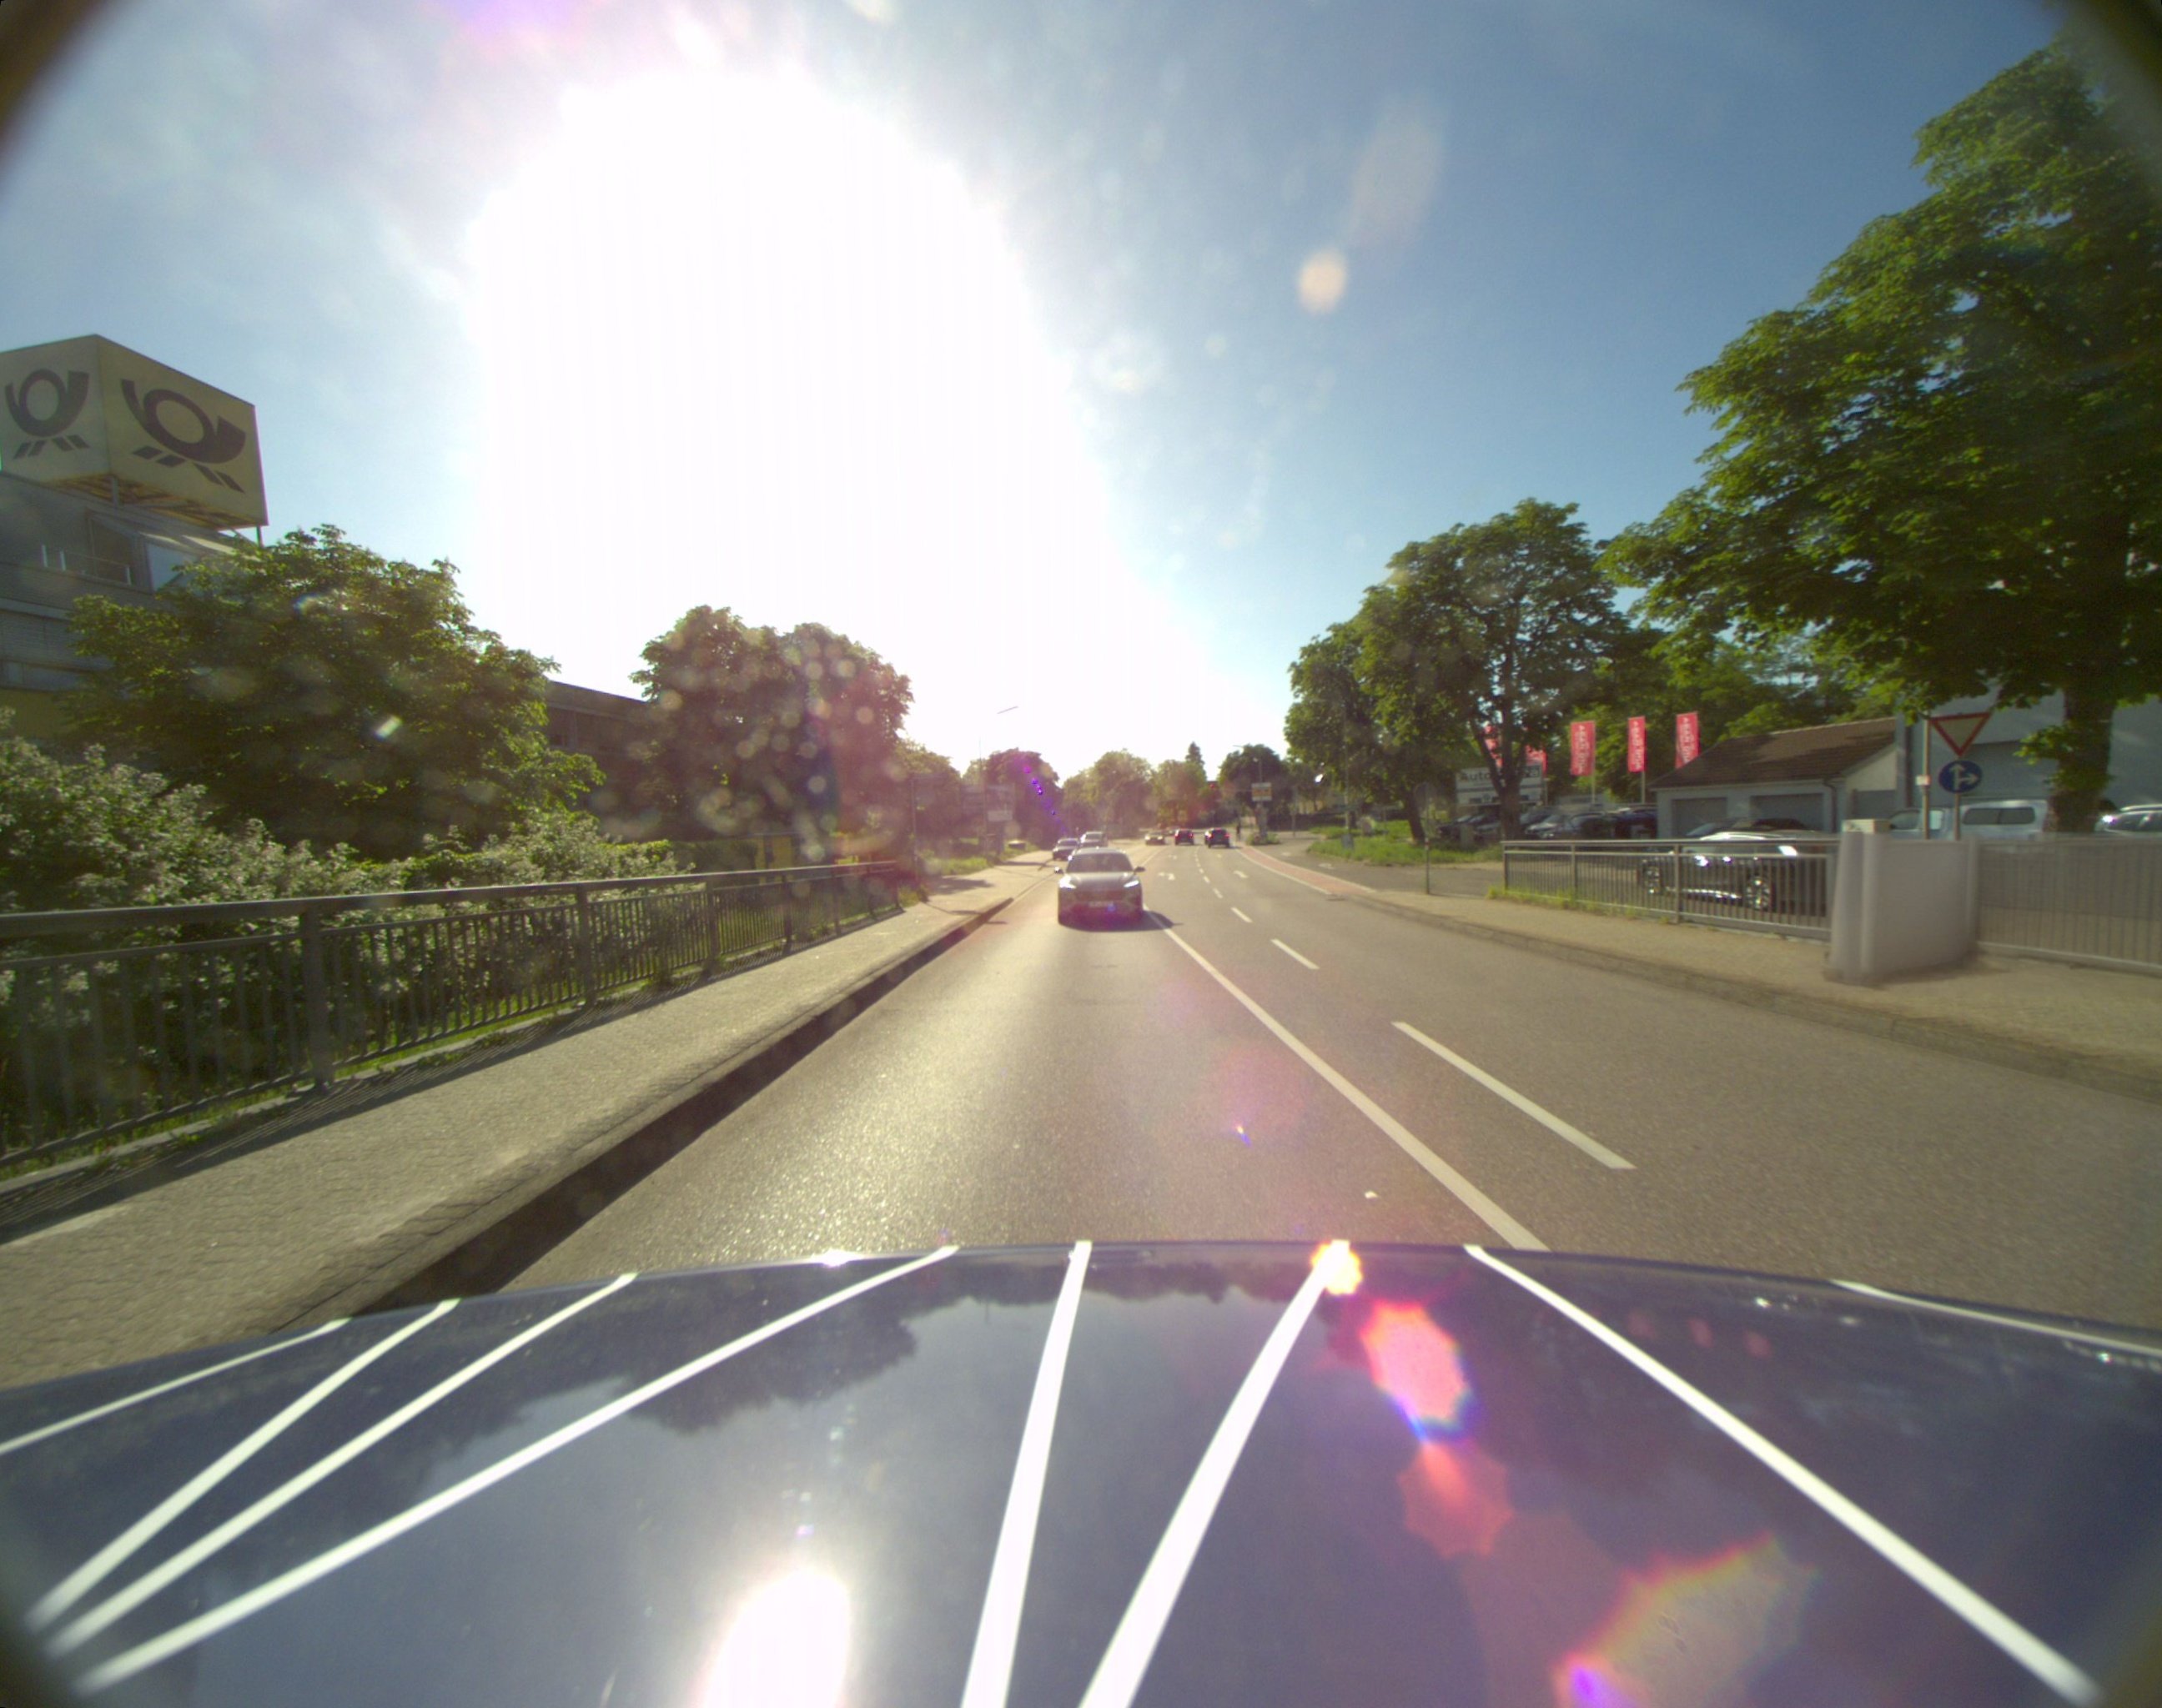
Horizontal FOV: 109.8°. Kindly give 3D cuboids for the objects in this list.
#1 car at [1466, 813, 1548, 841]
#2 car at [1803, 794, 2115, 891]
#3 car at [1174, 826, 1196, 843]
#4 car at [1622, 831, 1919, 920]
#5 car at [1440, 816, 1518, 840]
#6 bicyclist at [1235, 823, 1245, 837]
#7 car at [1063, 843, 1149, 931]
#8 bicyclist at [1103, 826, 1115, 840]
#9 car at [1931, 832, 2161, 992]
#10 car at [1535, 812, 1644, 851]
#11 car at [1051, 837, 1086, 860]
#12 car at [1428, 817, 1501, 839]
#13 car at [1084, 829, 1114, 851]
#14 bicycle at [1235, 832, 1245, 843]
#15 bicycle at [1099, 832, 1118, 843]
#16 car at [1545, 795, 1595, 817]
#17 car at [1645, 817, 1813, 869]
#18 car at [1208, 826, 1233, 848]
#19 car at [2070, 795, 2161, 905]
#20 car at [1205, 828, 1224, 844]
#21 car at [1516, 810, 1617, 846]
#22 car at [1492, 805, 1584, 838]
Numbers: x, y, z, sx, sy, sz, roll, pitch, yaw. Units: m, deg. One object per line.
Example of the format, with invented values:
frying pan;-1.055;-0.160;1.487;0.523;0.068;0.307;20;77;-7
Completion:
car;25.201;-1.578;44.975;3.880;1.405;1.944;-3;2;-11
car;20.548;-0.349;18.243;1.751;1.920;5.101;-3;2;3
car;10.218;-1.951;74.887;1.917;1.590;3.999;-1;2;4
car;14.313;0.320;16.308;2.042;1.456;4.960;-3;2;3
car;24.925;-1.621;47.651;3.934;1.233;2.041;-4;2;-13
bicyclist;16.269;-2.450;77.715;0.935;1.394;0.823;-3;2;11
car;0.508;0.631;17.205;1.715;1.636;4.053;0;2;0
bicyclist;3.288;-2.483;89.944;0.890;1.683;1.192;-2;3;31
car;13.628;0.703;8.696;2.042;1.719;5.235;-4;2;2
car;24.081;-1.063;36.025;4.410;1.566;1.811;-4;2;-15
car;-0.857;-0.435;53.557;1.812;1.412;4.425;-2;2;7
car;25.456;-1.736;50.467;3.934;1.233;2.041;-4;2;-13
car;1.602;-1.202;65.501;1.876;1.713;4.613;0;3;10
bicycle;16.345;-1.672;77.940;0.938;1.011;2.198;-3;2;12
bicycle;3.292;-1.942;89.934;0.901;1.119;2.957;-2;2;31
car;35.389;-3.480;55.068;1.742;1.454;4.002;-2;3;12
car;21.260;-0.402;25.048;3.998;1.421;1.906;-3;4;-2
car;11.993;-1.500;65.514;1.856;1.726;4.271;-3;2;8
car;20.382;-0.058;12.460;2.075;1.920;4.785;-3;2;0
car;12.950;-1.788;73.729;1.787;1.407;3.891;-2;3;10
car;24.935;-1.323;39.081;3.999;1.602;1.920;-3;2;-6
car;24.994;-1.749;41.622;4.001;1.551;1.997;-4;2;-13
